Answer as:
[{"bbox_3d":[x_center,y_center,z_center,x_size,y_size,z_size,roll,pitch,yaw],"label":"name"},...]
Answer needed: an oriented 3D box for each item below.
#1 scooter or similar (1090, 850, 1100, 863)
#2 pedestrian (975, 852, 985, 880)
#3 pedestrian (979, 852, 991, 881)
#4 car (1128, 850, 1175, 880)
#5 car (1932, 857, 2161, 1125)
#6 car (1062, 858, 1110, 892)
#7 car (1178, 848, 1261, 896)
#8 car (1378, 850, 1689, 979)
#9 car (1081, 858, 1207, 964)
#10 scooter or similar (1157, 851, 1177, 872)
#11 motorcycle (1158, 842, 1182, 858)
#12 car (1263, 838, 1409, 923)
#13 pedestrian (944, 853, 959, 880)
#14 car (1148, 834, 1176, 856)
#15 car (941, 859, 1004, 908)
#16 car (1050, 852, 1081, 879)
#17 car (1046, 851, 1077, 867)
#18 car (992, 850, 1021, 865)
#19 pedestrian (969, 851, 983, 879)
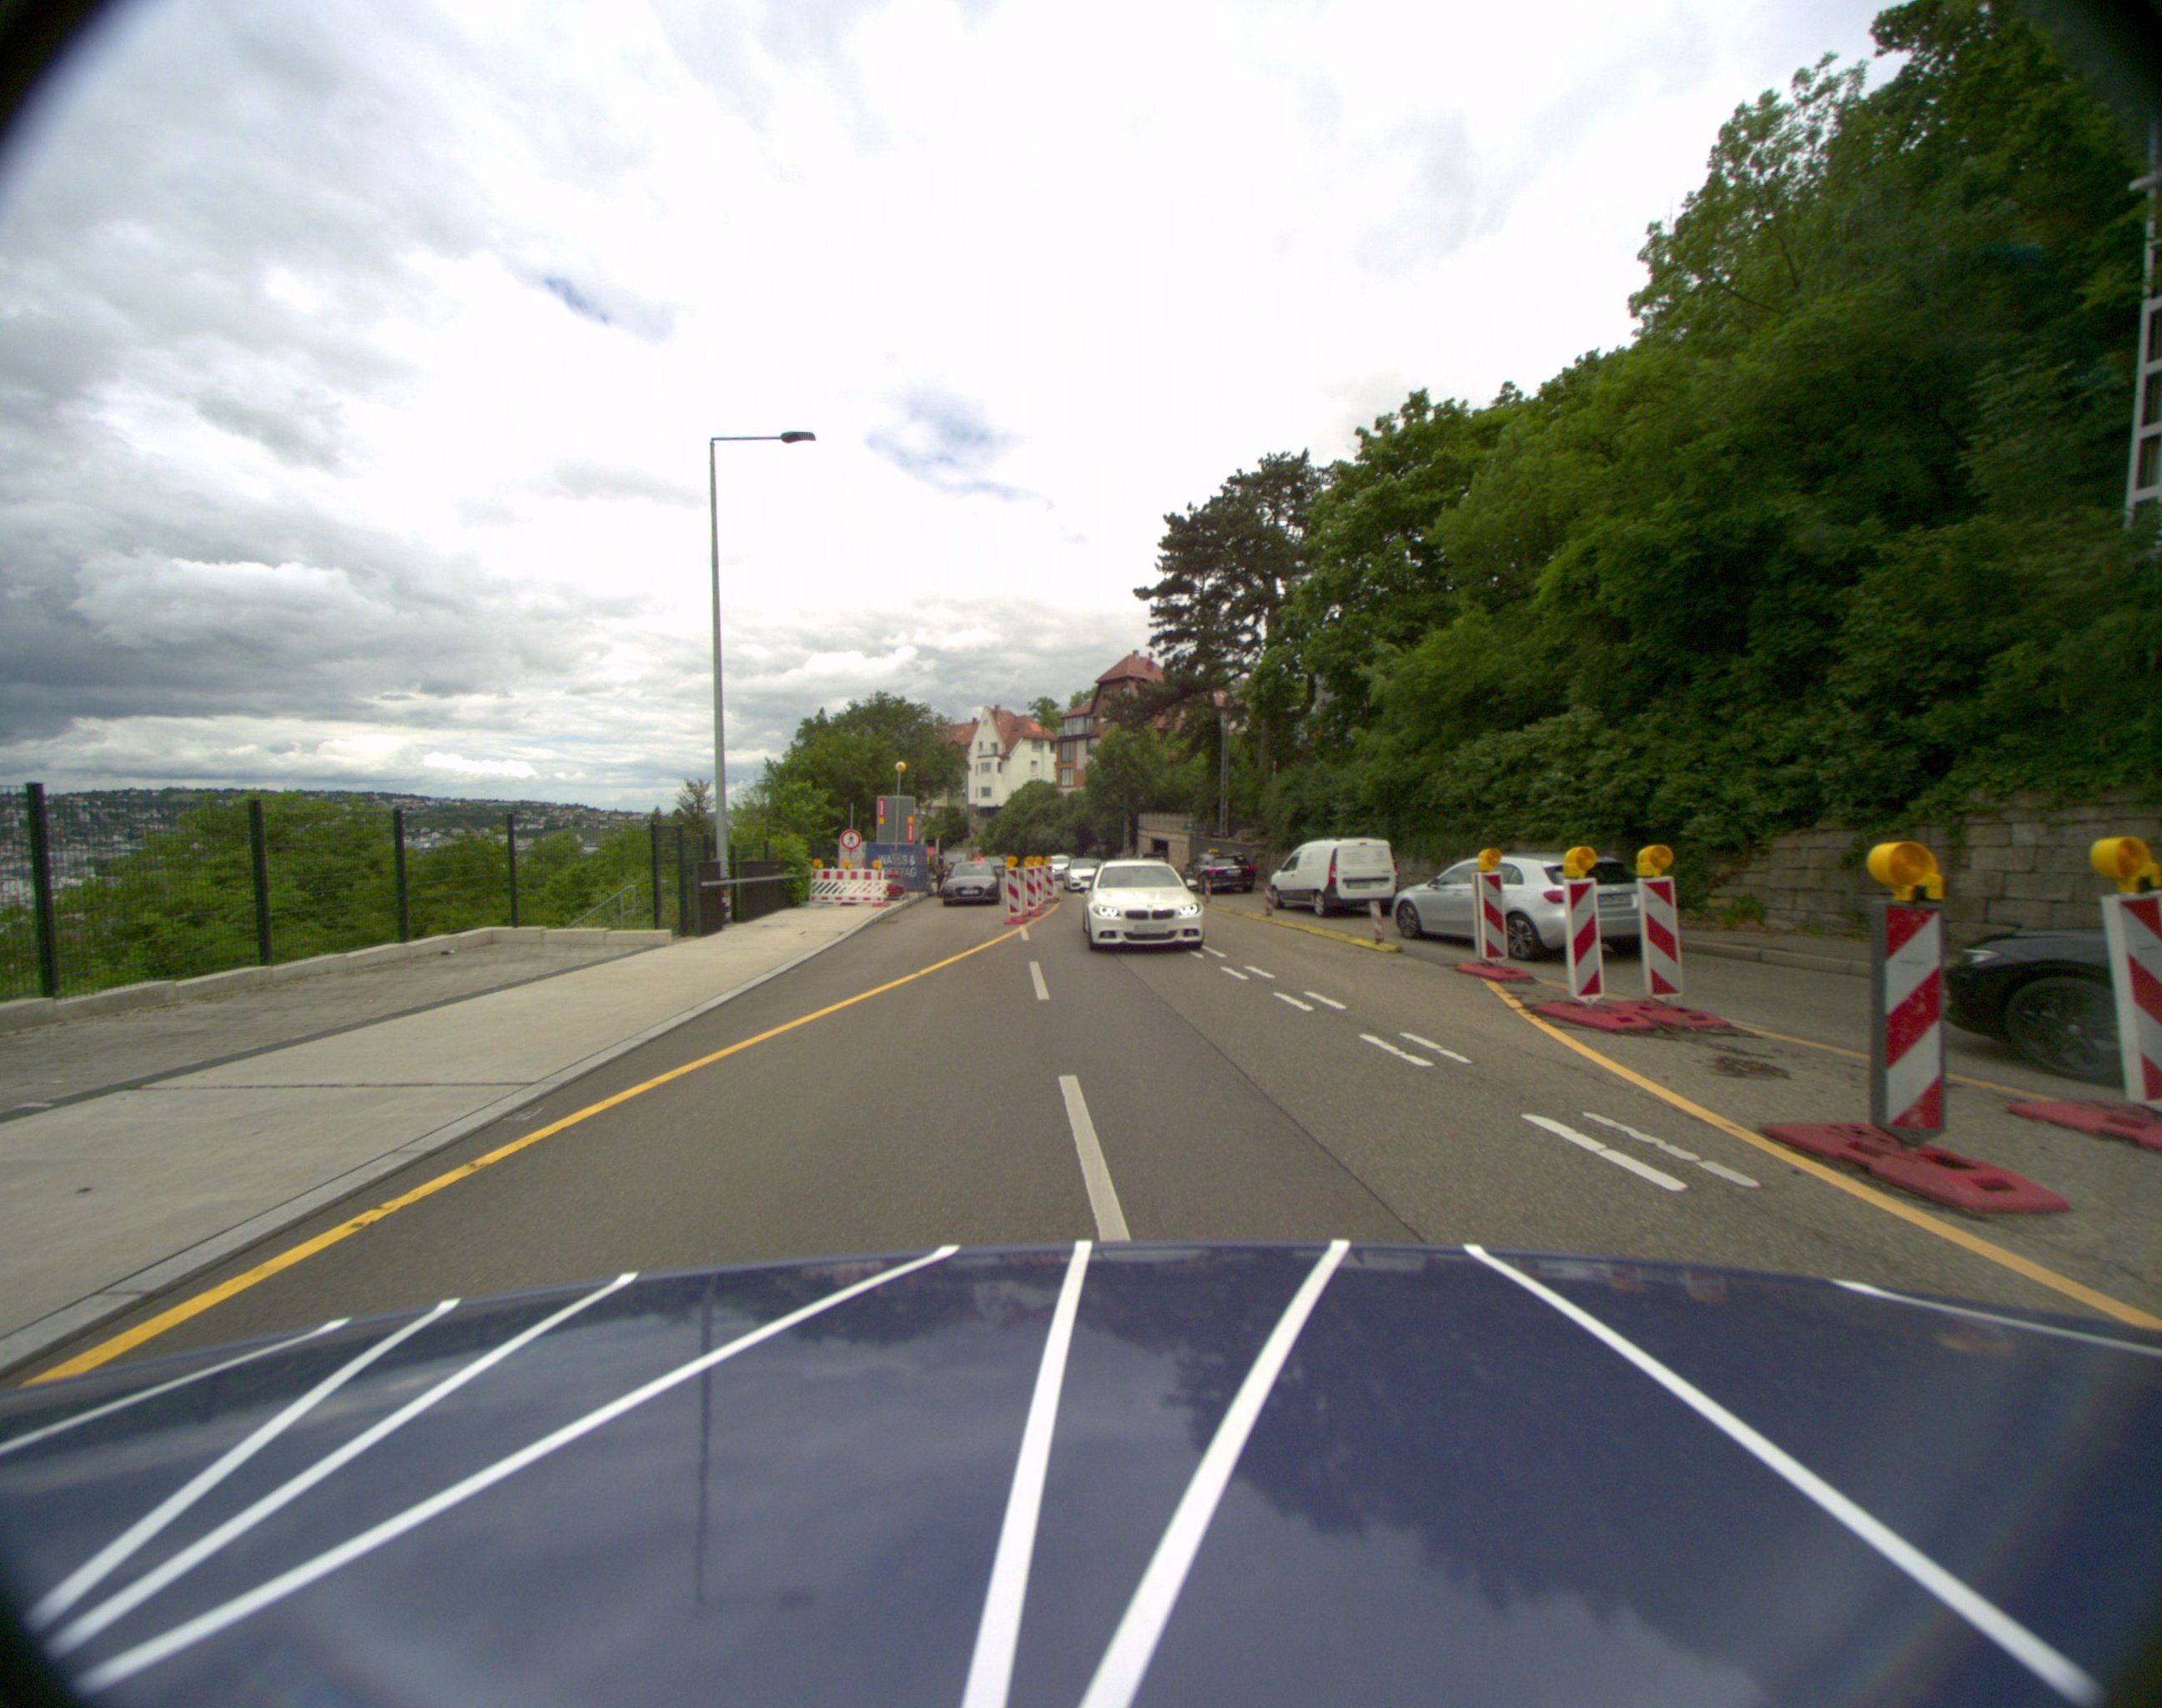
[{"bbox_3d":[1.379,0.253,74.419,0.406,1.250,0.961,-7,4,-33],"label":"scooter or similar"},{"bbox_3d":[-6.734,0.778,50.768,0.527,1.832,0.795,1,0,-17],"label":"pedestrian"},{"bbox_3d":[-6.276,0.825,49.689,0.640,1.848,0.833,1,0,-17],"label":"pedestrian"},{"bbox_3d":[3.901,0.568,42.722,1.834,1.476,4.315,-3,1,-5],"label":"car"},{"bbox_3d":[7.119,0.796,3.077,1.776,1.433,4.743,-2,1,-6],"label":"car"},{"bbox_3d":[0.157,0.885,33.483,1.798,1.299,4.099,-2,0,-4],"label":"car"},{"bbox_3d":[5.073,0.602,28.517,1.836,1.583,4.651,-2,1,-5],"label":"car"},{"bbox_3d":[6.466,0.730,11.553,1.797,1.499,4.309,-2,1,-6],"label":"car"},{"bbox_3d":[1.009,0.886,14.016,1.852,1.458,4.878,-2,1,1],"label":"car"},{"bbox_3d":[5.362,0.461,47.268,1.217,1.225,0.493,-3,1,-39],"label":"scooter or similar"},{"bbox_3d":[7.183,-0.344,61.568,1.843,1.177,0.636,-2,5,-3],"label":"motorcycle"},{"bbox_3d":[6.062,0.557,18.655,1.808,1.780,4.339,-2,1,-5],"label":"car"},{"bbox_3d":[-8.808,0.867,51.670,0.648,1.784,0.642,-4,2,-31],"label":"pedestrian"},{"bbox_3d":[6.771,-0.791,63.789,1.573,1.596,3.582,-3,5,-6],"label":"car"},{"bbox_3d":[-3.630,0.945,26.100,1.845,1.447,4.625,-2,0,-5],"label":"car"},{"bbox_3d":[-0.986,0.718,49.784,1.886,1.569,3.999,-2,1,-1],"label":"car"},{"bbox_3d":[-1.959,0.499,75.009,1.826,1.426,3.708,-6,2,-22],"label":"car"},{"bbox_3d":[-8.643,0.431,88.119,1.772,1.587,3.782,-7,3,-30],"label":"car"},{"bbox_3d":[-7.128,0.768,51.767,0.717,1.873,0.620,-3,-3,44],"label":"pedestrian"}]
